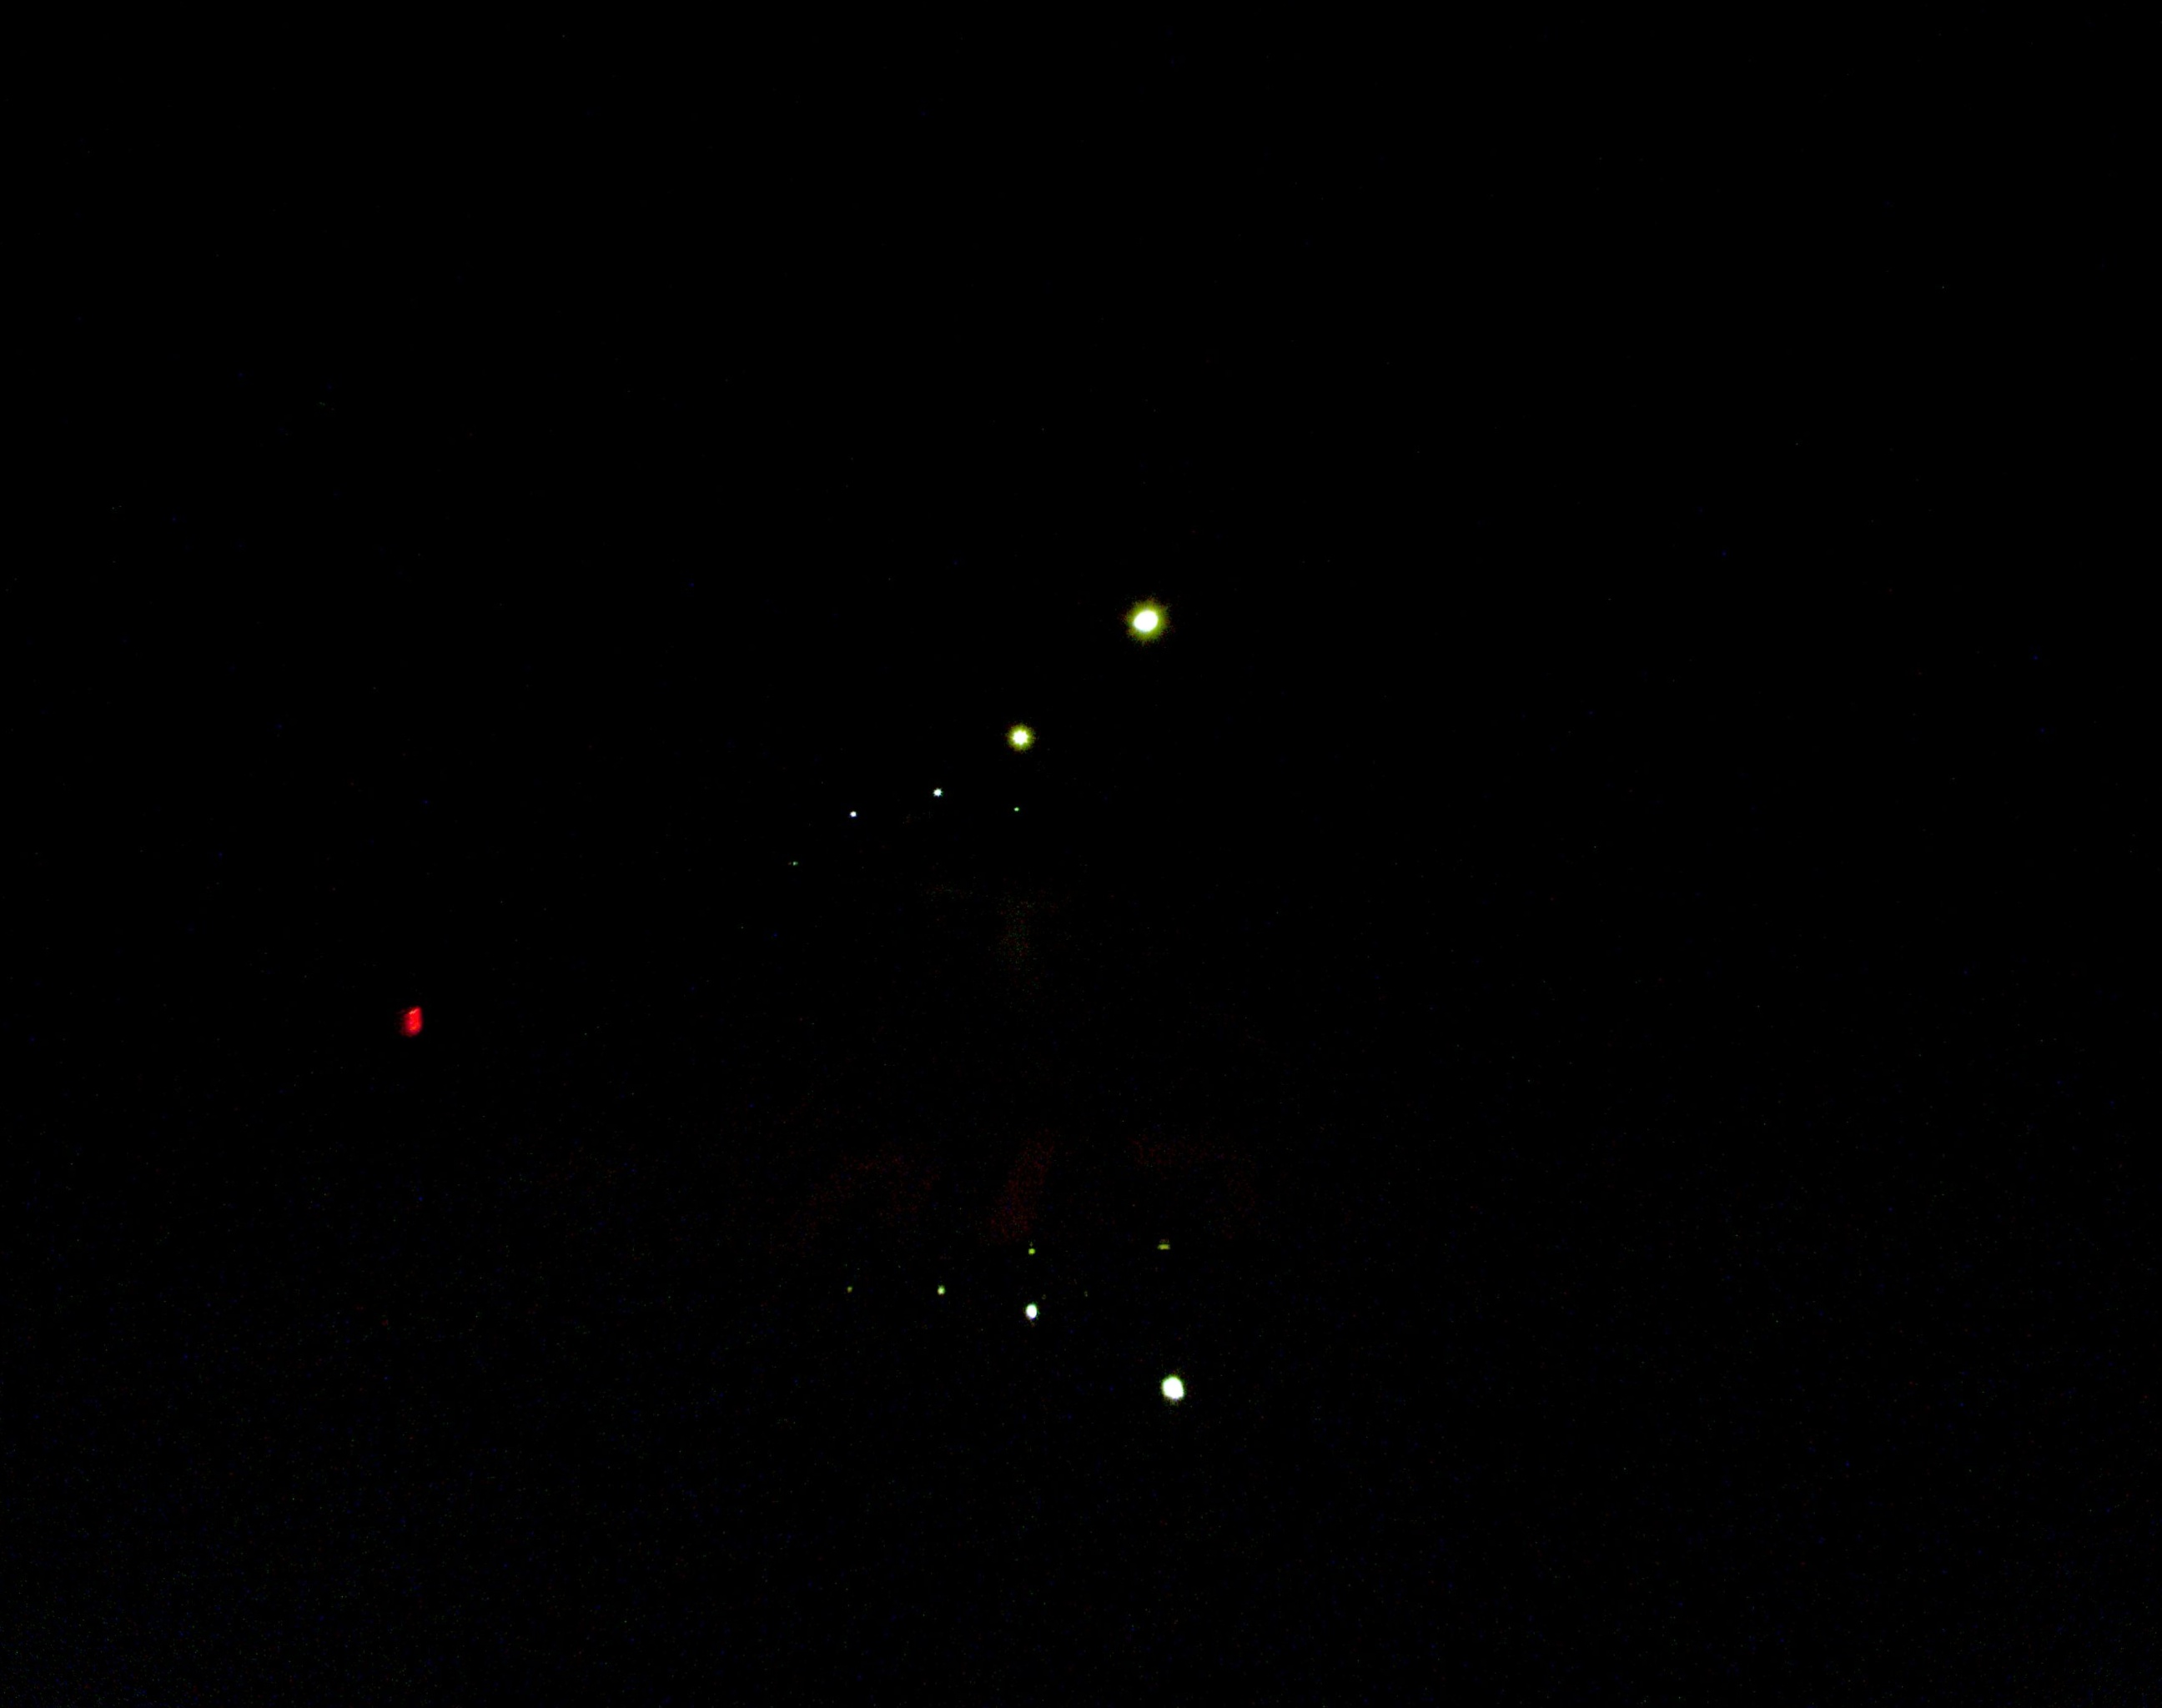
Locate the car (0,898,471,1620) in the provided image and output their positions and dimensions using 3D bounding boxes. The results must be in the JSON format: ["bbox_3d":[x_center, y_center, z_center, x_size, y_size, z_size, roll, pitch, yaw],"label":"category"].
[{"bbox_3d":[-3.378,1.022,1.030,1.674,1.601,4.228,-2,1,-1],"label":"car"}]
